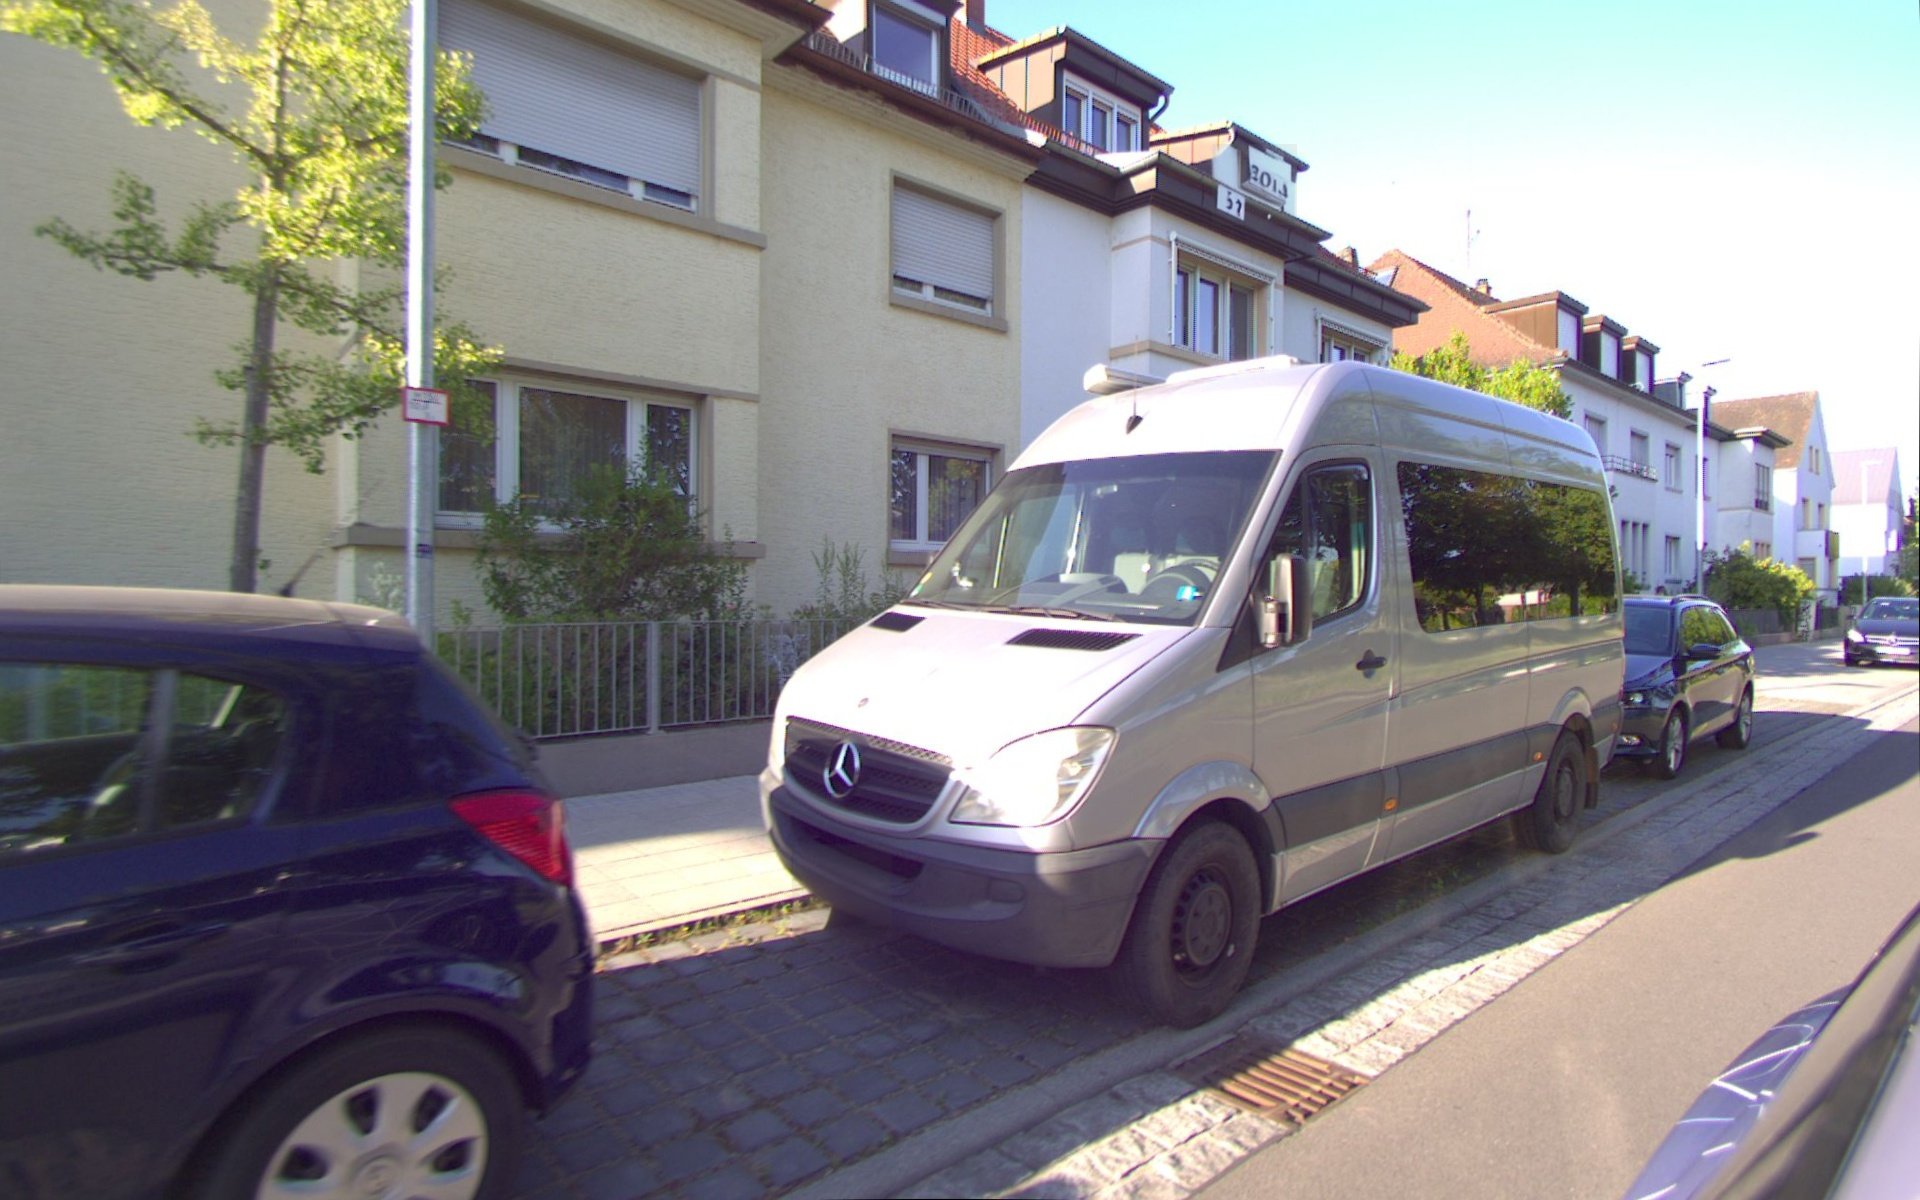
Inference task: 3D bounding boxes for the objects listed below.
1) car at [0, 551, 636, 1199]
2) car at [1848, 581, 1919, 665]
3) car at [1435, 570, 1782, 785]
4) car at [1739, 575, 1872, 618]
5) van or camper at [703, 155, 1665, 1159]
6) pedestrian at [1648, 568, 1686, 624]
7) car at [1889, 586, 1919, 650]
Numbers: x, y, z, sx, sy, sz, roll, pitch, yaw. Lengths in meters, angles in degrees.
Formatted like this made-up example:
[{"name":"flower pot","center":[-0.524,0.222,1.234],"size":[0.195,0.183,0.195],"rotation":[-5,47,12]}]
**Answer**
[{"name":"car","center":[-2.763,0.644,1.718],"size":[3.899,1.428,1.625],"rotation":[-1,4,-41]},{"name":"car","center":[21.928,0.470,23.128],"size":[4.339,1.705,1.836],"rotation":[-1,4,-41]},{"name":"car","center":[6.246,0.577,9.576],"size":[4.014,1.613,1.666],"rotation":[-1,-1,-41]},{"name":"car","center":[36.120,-0.204,43.302],"size":[1.823,1.747,4.221],"rotation":[-1,1,-44]},{"name":"van or camper","center":[1.763,0.106,5.496],"size":[5.836,2.812,1.946],"rotation":[-2,0,-41]},{"name":"pedestrian","center":[20.597,-0.114,29.495],"size":[0.617,1.598,0.598],"rotation":[-1,-1,-14]},{"name":"car","center":[26.145,0.455,27.032],"size":[4.141,1.593,1.719],"rotation":[-1,3,-44]}]
